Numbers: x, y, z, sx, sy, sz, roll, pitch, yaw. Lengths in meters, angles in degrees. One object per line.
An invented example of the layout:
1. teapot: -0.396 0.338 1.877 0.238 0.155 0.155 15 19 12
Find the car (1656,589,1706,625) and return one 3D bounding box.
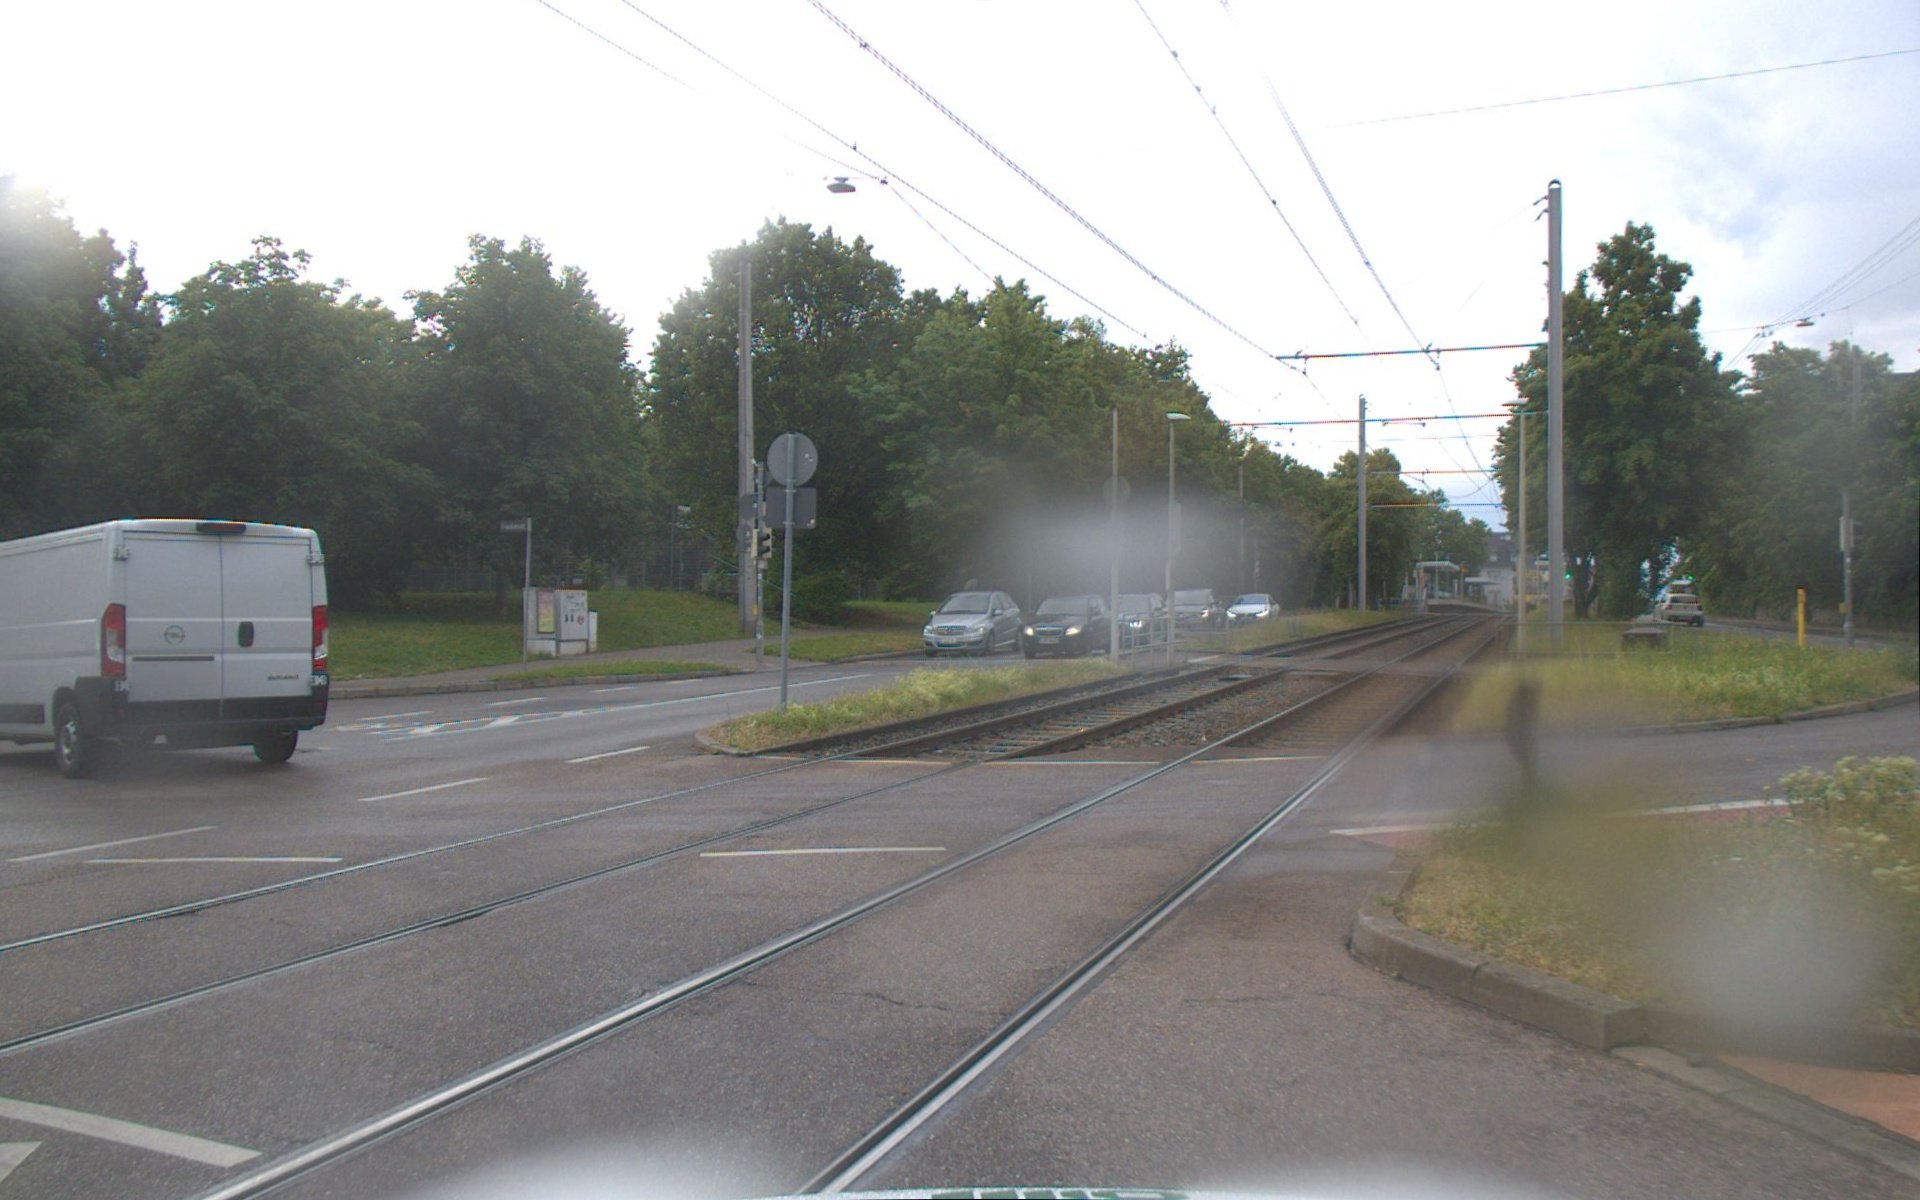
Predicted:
1. car: 32.709 0.301 75.106 1.667 1.548 3.793 2 1 18

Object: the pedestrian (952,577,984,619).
1. pedestrian: 0.313 -0.077 63.689 0.991 1.629 1.041 0 0 14

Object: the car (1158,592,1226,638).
1. car: 7.870 0.471 55.868 1.568 1.426 3.793 2 1 19

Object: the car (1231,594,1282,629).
1. car: 12.711 0.475 70.768 1.567 1.426 3.793 -1 0 19

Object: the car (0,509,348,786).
1. car: -8.238 0.365 16.342 4.975 2.323 2.139 1 1 43

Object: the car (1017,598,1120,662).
1. car: 2.714 0.692 40.628 1.568 1.426 3.793 2 1 19

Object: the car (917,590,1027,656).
1. car: 0.374 0.567 43.192 1.683 1.581 3.864 -3 0 19

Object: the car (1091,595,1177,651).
1. car: 4.937 0.621 46.622 1.567 1.426 3.793 -2 0 19

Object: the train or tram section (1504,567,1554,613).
1. train or tram section: 52.543 -1.012 152.447 3.976 3.962 15.043 2 2 20
